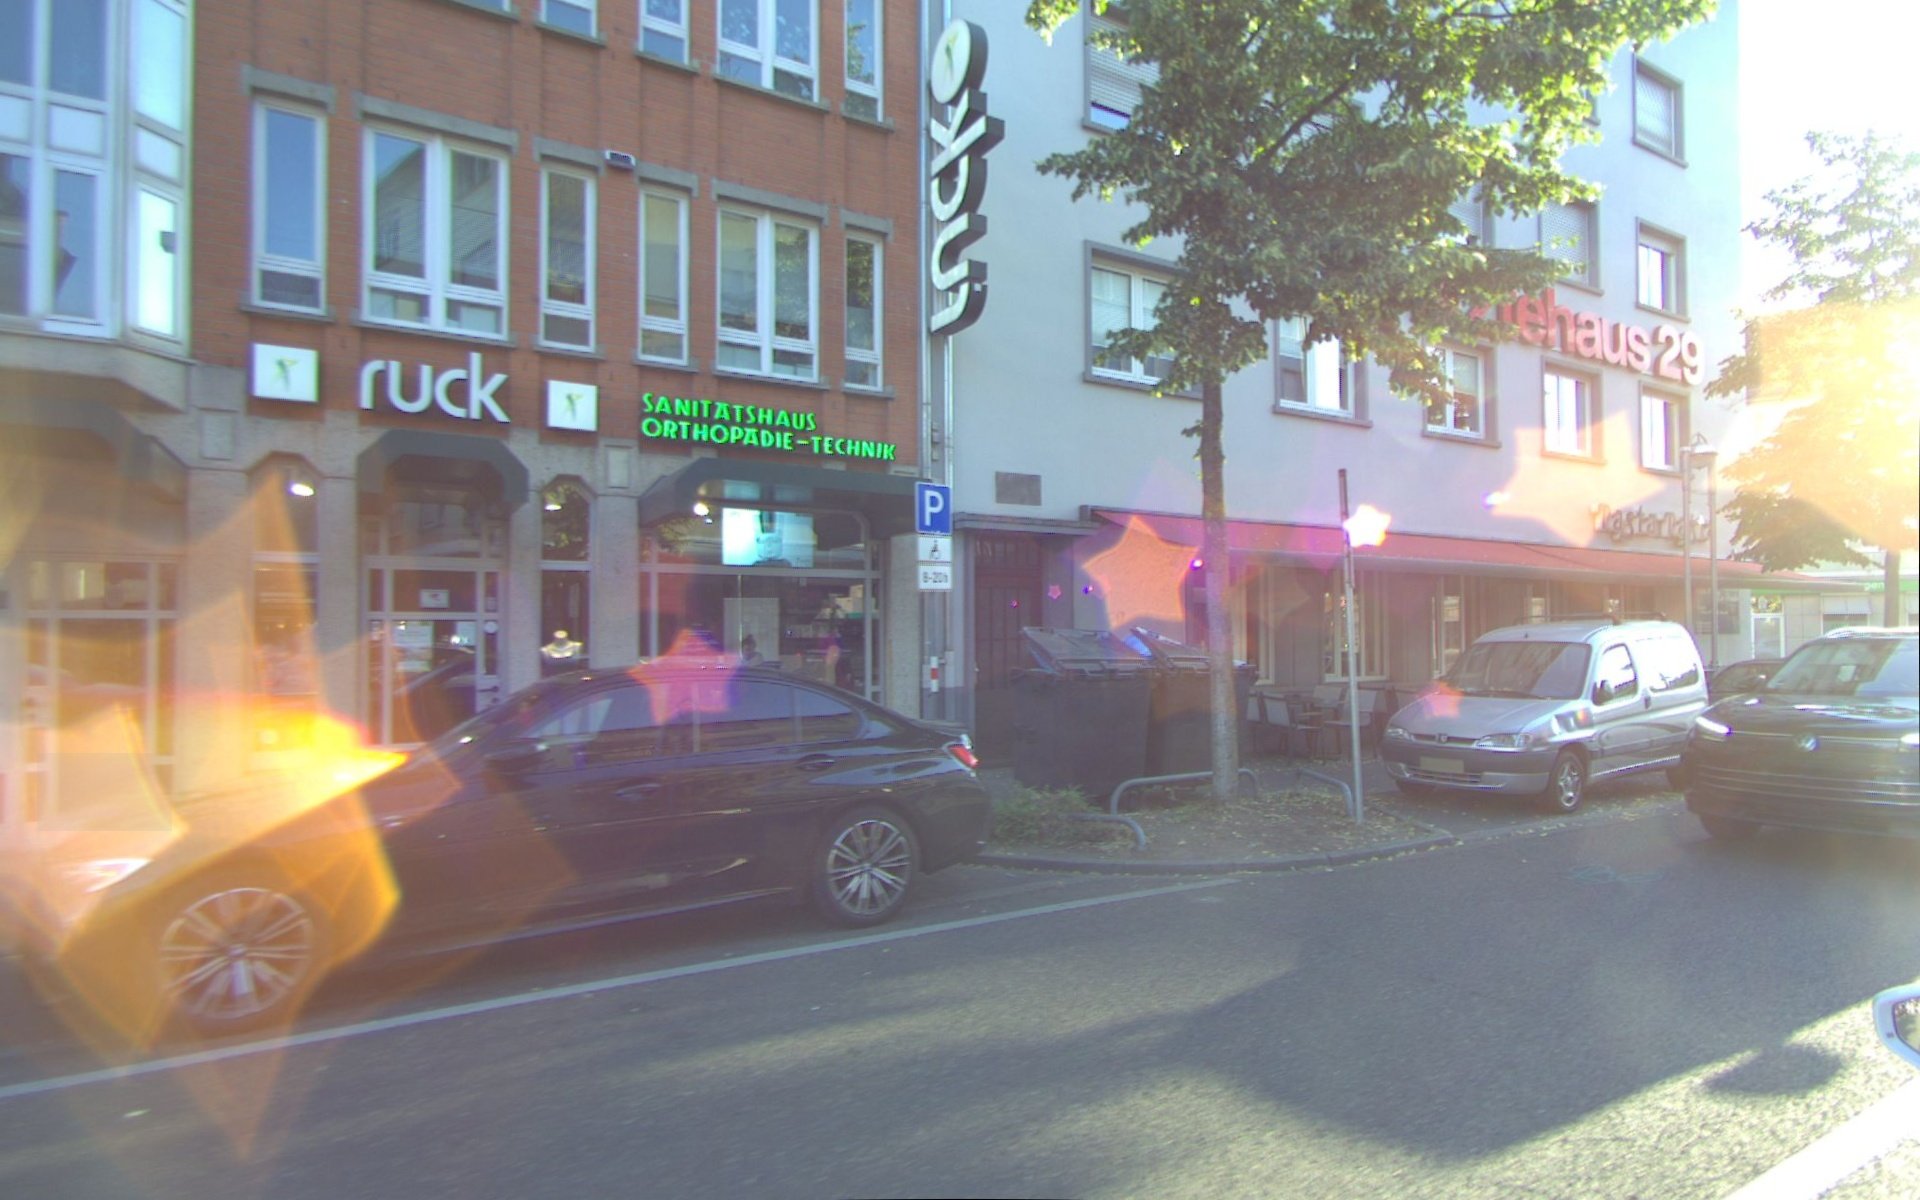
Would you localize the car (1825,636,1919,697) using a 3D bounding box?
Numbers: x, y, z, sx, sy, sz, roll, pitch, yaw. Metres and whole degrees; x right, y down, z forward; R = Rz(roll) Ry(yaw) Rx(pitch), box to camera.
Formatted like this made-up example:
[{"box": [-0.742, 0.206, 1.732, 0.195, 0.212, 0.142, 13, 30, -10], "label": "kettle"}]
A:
[{"box": [25.364, 1.708, 26.016, 4.249, 1.518, 1.994, -1, -2, 35], "label": "car"}]

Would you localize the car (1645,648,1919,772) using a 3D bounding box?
[{"box": [11.197, 1.386, 13.468, 4.232, 1.434, 1.714, 2, -4, -32], "label": "car"}]

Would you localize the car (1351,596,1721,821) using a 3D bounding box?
[{"box": [6.018, 1.023, 10.371, 4.011, 1.912, 1.659, 2, -4, -34], "label": "car"}]

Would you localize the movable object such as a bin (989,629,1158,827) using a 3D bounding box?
[{"box": [1.032, 1.094, 9.104, 1.323, 1.641, 0.776, 1, 0, -34], "label": "movable object such as a bin"}]

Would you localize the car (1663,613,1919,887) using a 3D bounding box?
[{"box": [7.484, 0.984, 7.807, 4.246, 1.697, 1.722, 1, -2, -31], "label": "car"}]

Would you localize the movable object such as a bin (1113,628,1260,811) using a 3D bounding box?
[{"box": [2.211, 1.111, 9.812, 1.196, 1.641, 0.776, 1, 0, -34], "label": "movable object such as a bin"}]

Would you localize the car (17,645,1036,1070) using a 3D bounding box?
[{"box": [-1.912, 1.039, 5.556, 4.489, 1.491, 1.713, 1, -4, -31], "label": "car"}]
